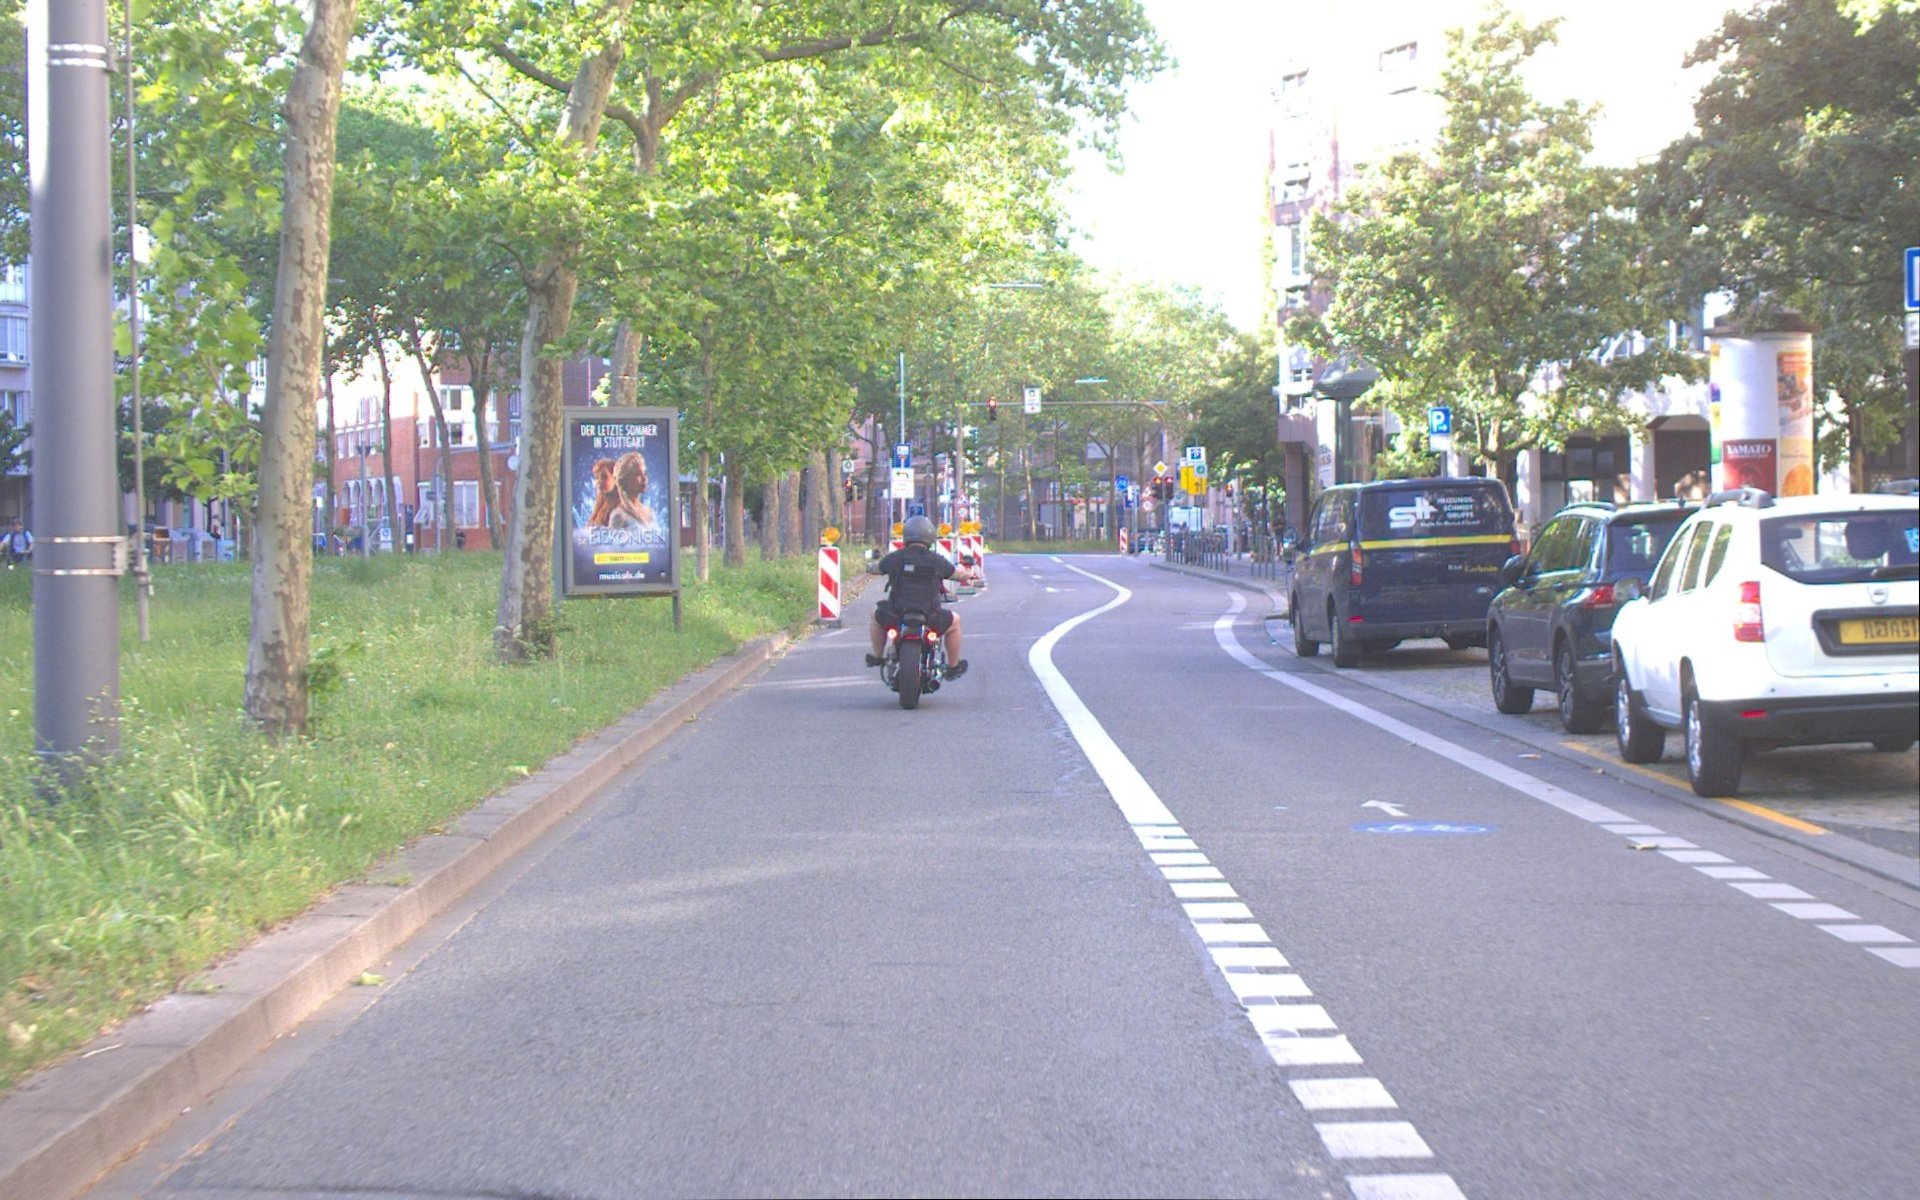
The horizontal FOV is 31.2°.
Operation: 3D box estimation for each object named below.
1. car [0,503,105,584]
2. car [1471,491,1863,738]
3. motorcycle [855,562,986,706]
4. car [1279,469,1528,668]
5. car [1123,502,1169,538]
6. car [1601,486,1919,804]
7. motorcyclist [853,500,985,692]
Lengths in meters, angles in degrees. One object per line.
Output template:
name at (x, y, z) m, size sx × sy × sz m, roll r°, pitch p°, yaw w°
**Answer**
car at (-19.802, -1.239, 73.815) m, size 1.900 × 1.681 × 4.000 m, roll -1°, pitch 2°, yaw 0°
car at (5.146, 0.054, 25.576) m, size 1.987 × 1.623 × 4.086 m, roll -2°, pitch 1°, yaw -1°
motorcycle at (-0.306, 0.261, 28.754) m, size 1.005 × 1.121 × 2.323 m, roll -1°, pitch 1°, yaw 1°
car at (4.732, -0.381, 37.291) m, size 2.030 × 1.970 × 4.415 m, roll -2°, pitch 2°, yaw -1°
car at (9.137, -3.928, 168.389) m, size 1.994 × 1.700 × 3.999 m, roll -1°, pitch 2°, yaw 7°
car at (4.900, 0.180, 19.791) m, size 1.859 × 1.632 × 3.868 m, roll -1°, pitch 1°, yaw 3°
motorcyclist at (-0.330, -0.048, 28.671) m, size 1.022 × 1.547 × 1.286 m, roll -1°, pitch 1°, yaw 1°
